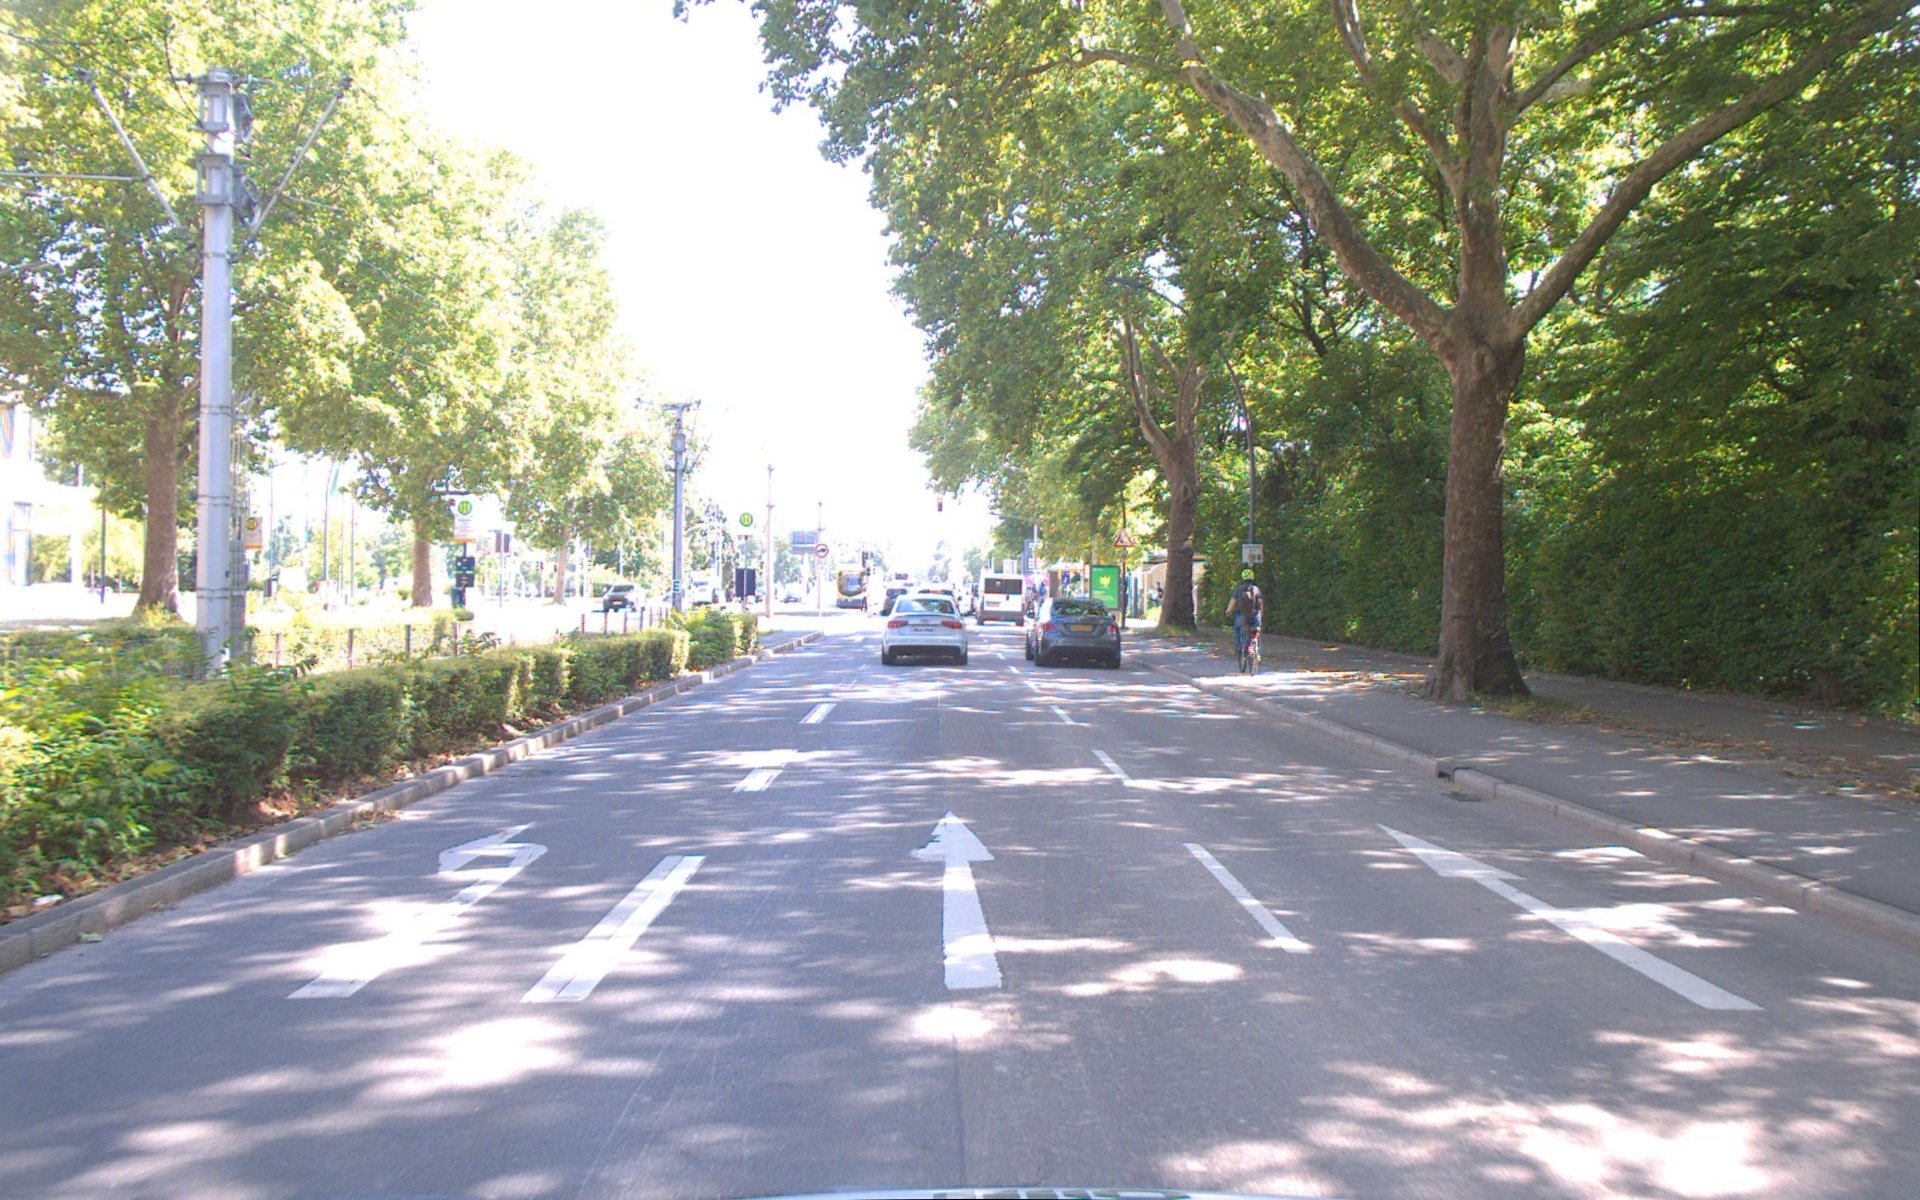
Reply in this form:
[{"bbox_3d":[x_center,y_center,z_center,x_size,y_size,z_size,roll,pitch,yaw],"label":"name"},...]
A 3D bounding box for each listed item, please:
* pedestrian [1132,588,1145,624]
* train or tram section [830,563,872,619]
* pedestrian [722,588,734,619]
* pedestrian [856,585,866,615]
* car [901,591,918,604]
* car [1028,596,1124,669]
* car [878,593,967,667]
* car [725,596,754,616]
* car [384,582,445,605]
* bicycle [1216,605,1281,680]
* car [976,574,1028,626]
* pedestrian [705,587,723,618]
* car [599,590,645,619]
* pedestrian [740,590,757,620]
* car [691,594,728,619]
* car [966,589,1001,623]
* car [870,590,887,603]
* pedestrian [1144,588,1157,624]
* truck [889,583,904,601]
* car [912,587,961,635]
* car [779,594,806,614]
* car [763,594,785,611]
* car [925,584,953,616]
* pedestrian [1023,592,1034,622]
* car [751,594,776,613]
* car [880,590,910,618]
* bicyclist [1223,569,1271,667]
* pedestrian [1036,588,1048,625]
[{"bbox_3d":[9.524,0.304,88.172,0.601,1.929,0.694,0,0,-4],"label":"pedestrian"},{"bbox_3d":[-8.197,-0.671,125.265,2.563,4.085,7.748,1,0,0],"label":"train or tram section"},{"bbox_3d":[-12.838,0.198,91.575,0.580,1.675,0.554,1,0,0],"label":"pedestrian"},{"bbox_3d":[-6.485,-0.029,108.665,0.611,1.952,0.689,1,0,0],"label":"pedestrian"},{"bbox_3d":[-6.393,-0.305,210.585,1.832,1.637,4.001,1,0,2],"label":"car"},{"bbox_3d":[2.438,0.652,35.549,1.746,1.445,3.999,1,0,-1],"label":"car"},{"bbox_3d":[-0.759,0.588,34.816,1.748,1.445,3.884,1,0,-1],"label":"car"},{"bbox_3d":[-17.535,0.492,131.674,1.760,1.515,4.385,1,0,0],"label":"car"},{"bbox_3d":[-39.106,-0.460,118.644,3.769,1.576,1.769,1,0,-1],"label":"car"},{"bbox_3d":[5.139,0.731,29.550,0.700,1.168,2.178,-2,2,-1],"label":"bicycle"},{"bbox_3d":[1.838,-0.003,73.805,2.184,2.250,4.161,1,0,-1],"label":"car"},{"bbox_3d":[-13.017,0.124,87.495,0.748,1.651,0.590,1,0,-26],"label":"pedestrian"},{"bbox_3d":[-20.346,0.265,99.694,1.792,1.652,4.895,1,0,-1],"label":"car"},{"bbox_3d":[-12.566,0.294,98.333,0.758,1.764,0.755,1,0,8],"label":"pedestrian"},{"bbox_3d":[-16.365,0.397,108.225,1.774,1.590,4.304,1,0,-1],"label":"car"},{"bbox_3d":[1.446,0.380,102.546,2.030,2.034,4.057,1,0,-1],"label":"car"},{"bbox_3d":[-10.417,-0.416,210.625,1.832,1.637,4.001,1,0,2],"label":"car"},{"bbox_3d":[10.168,0.307,88.265,0.601,1.929,0.597,0,0,-4],"label":"pedestrian"},{"bbox_3d":[-10.102,-1.277,264.012,1.953,2.839,8.518,1,0,0],"label":"truck"},{"bbox_3d":[-0.824,0.393,59.680,1.694,1.633,3.884,1,0,-1],"label":"car"},{"bbox_3d":[-14.965,0.371,147.973,1.953,1.764,4.000,1,0,0],"label":"car"},{"bbox_3d":[-18.181,0.262,161.823,1.727,1.637,3.860,1,0,0],"label":"car"},{"bbox_3d":[-1.287,-0.009,101.623,1.694,1.935,3.999,1,0,-1],"label":"car"},{"bbox_3d":[4.105,0.418,98.821,0.590,1.724,0.953,-1,0,-1],"label":"pedestrian"},{"bbox_3d":[-17.805,0.315,149.990,1.833,1.637,4.000,1,0,0],"label":"car"},{"bbox_3d":[-3.940,0.220,101.364,1.694,1.659,3.999,1,0,-1],"label":"car"},{"bbox_3d":[5.103,0.308,29.487,0.621,1.676,0.979,-2,1,-2],"label":"bicyclist"},{"bbox_3d":[4.509,0.355,91.078,0.622,1.980,0.719,1,0,0],"label":"pedestrian"}]
